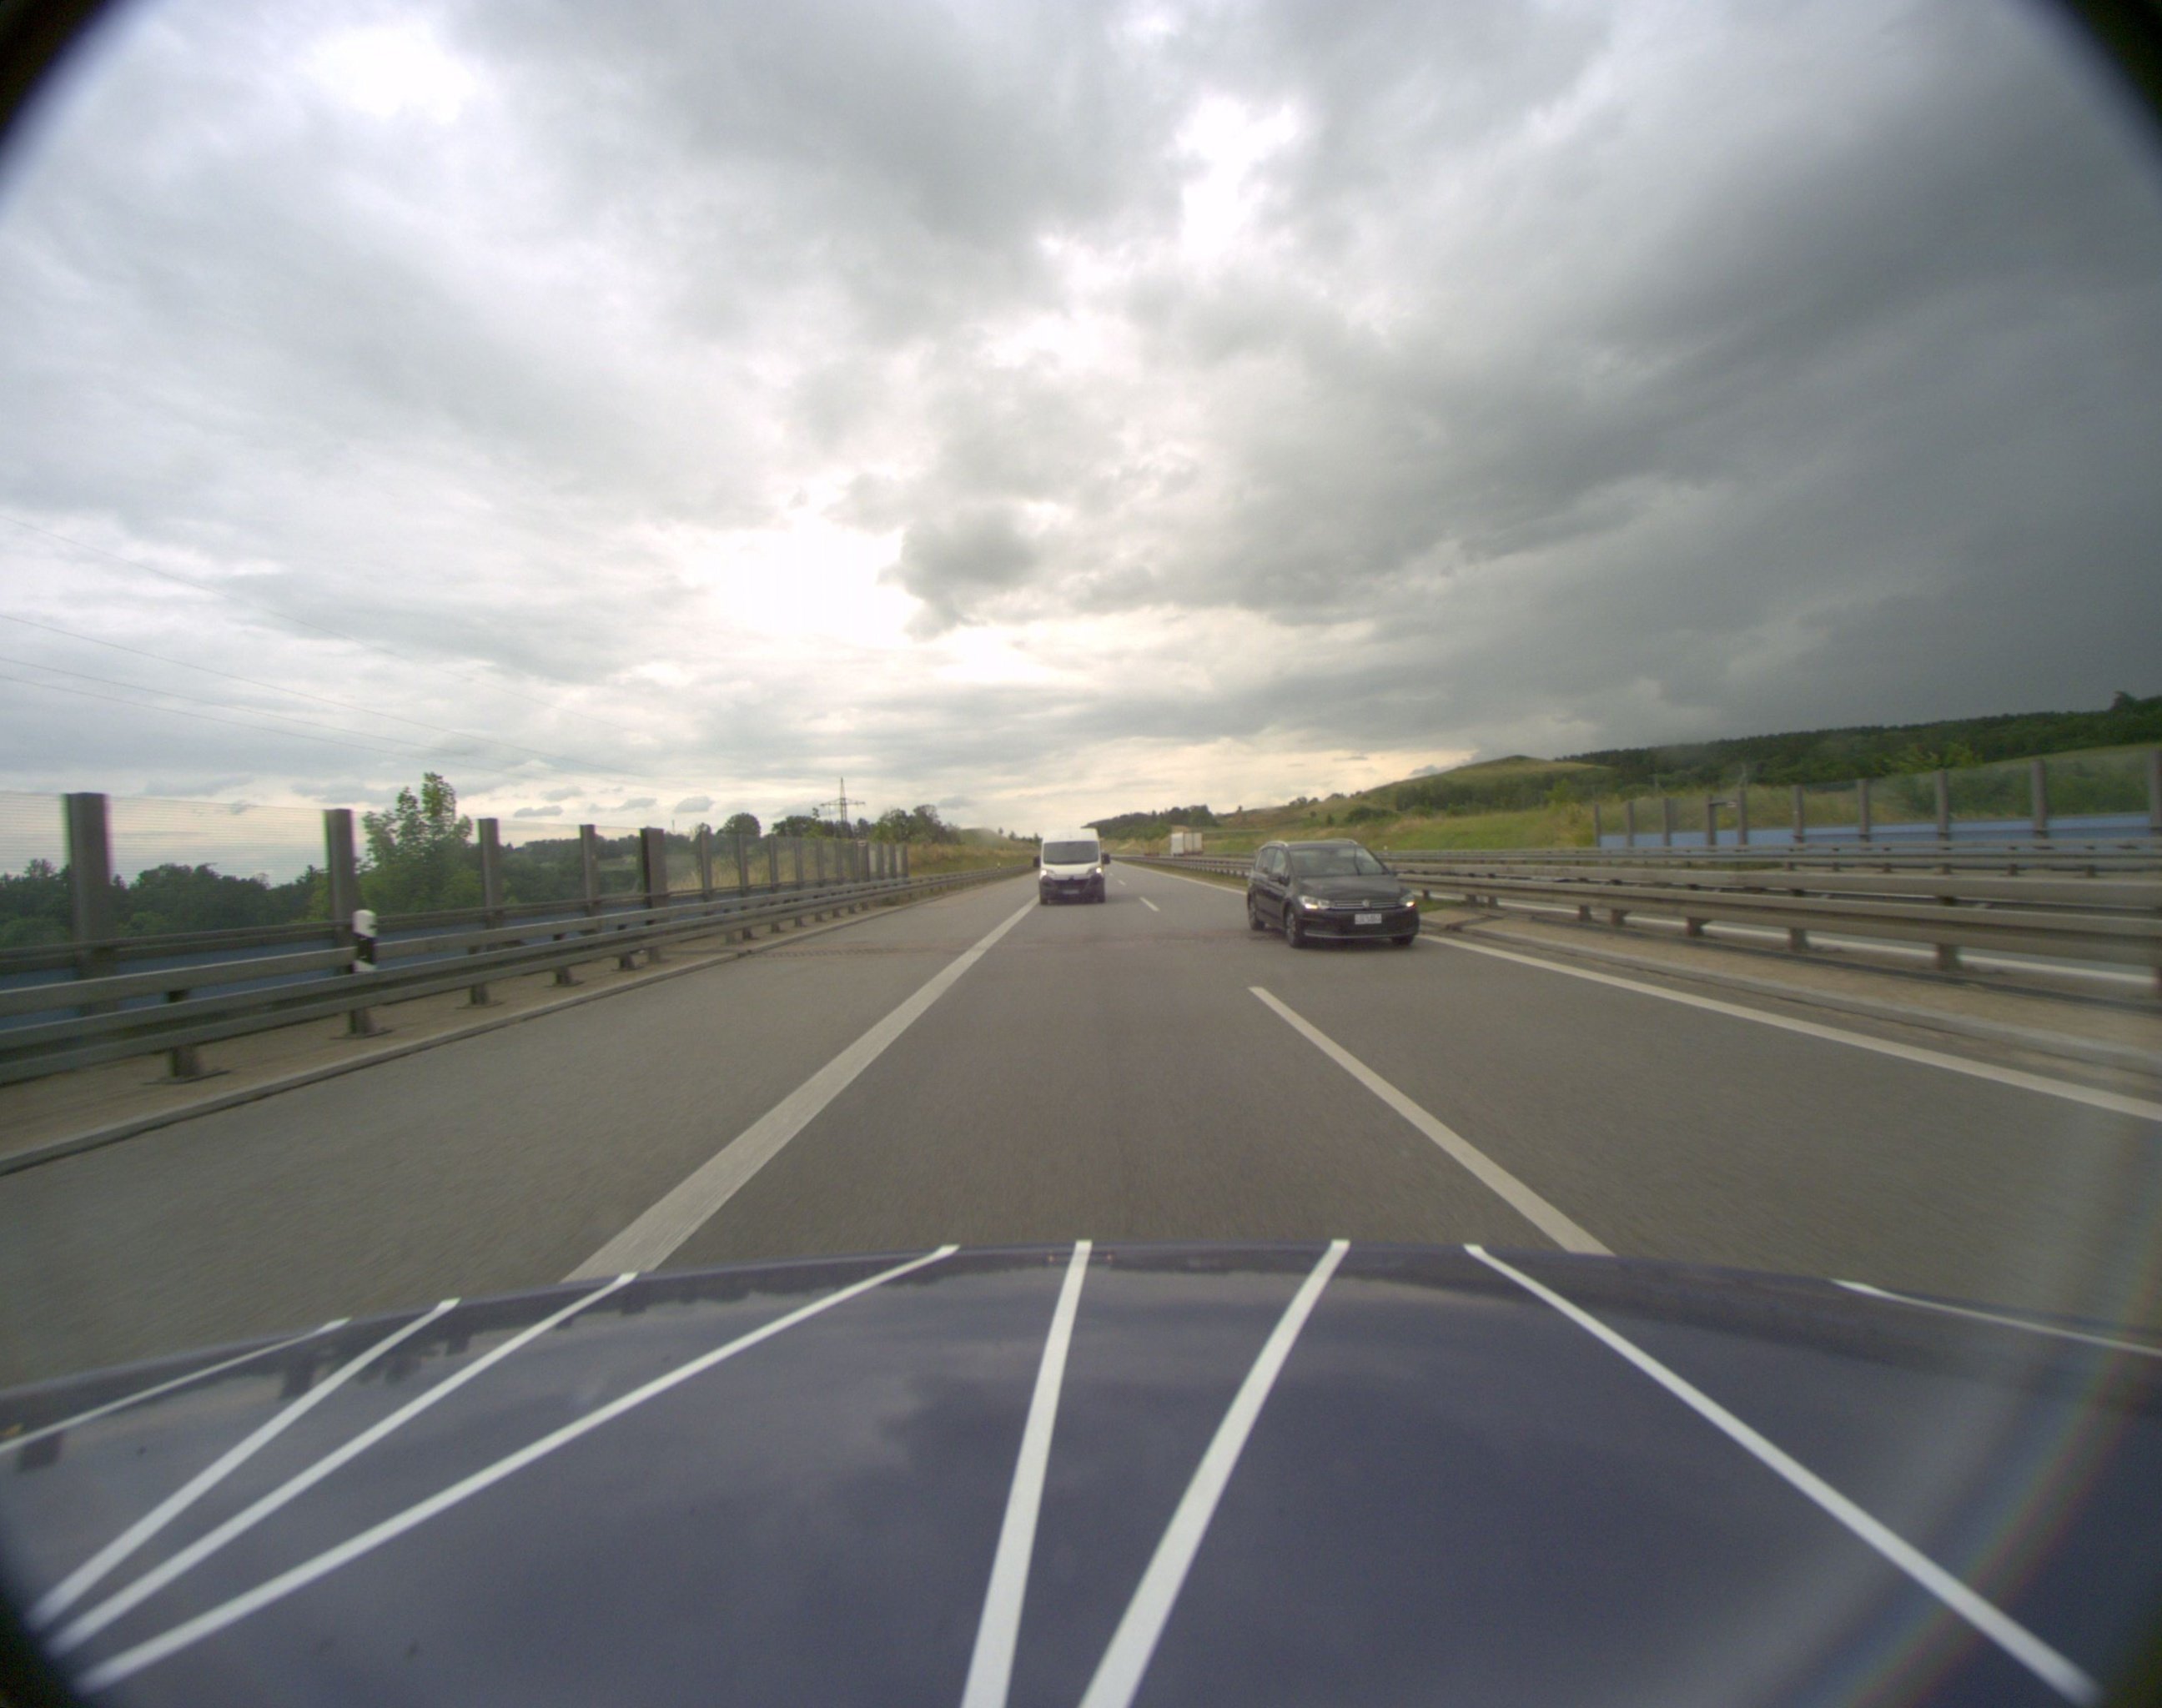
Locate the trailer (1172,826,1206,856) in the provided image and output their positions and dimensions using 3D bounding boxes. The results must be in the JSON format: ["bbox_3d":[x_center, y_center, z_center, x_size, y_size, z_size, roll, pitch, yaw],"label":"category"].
[{"bbox_3d":[15.379,-1.735,109.234,2.925,3.902,14.274,-2,0,1],"label":"trailer"}]

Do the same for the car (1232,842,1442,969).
[{"bbox_3d":[4.037,0.698,13.086,1.901,1.661,5.397,-2,0,2],"label":"car"}]

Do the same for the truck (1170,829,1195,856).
[{"bbox_3d":[15.492,-1.734,116.525,2.959,3.902,5.518,-2,0,1],"label":"truck"}]

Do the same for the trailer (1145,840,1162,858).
[{"bbox_3d":[16.995,-1.124,178.332,2.596,3.902,13.702,-2,0,1],"label":"trailer"}]

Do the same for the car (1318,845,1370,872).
[{"bbox_3d":[15.057,0.262,43.735,1.635,1.401,4.000,-3,0,1],"label":"car"}]

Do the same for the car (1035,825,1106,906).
[{"bbox_3d":[-0.239,0.376,26.395,2.132,2.411,6.112,-1,0,2],"label":"car"}]
